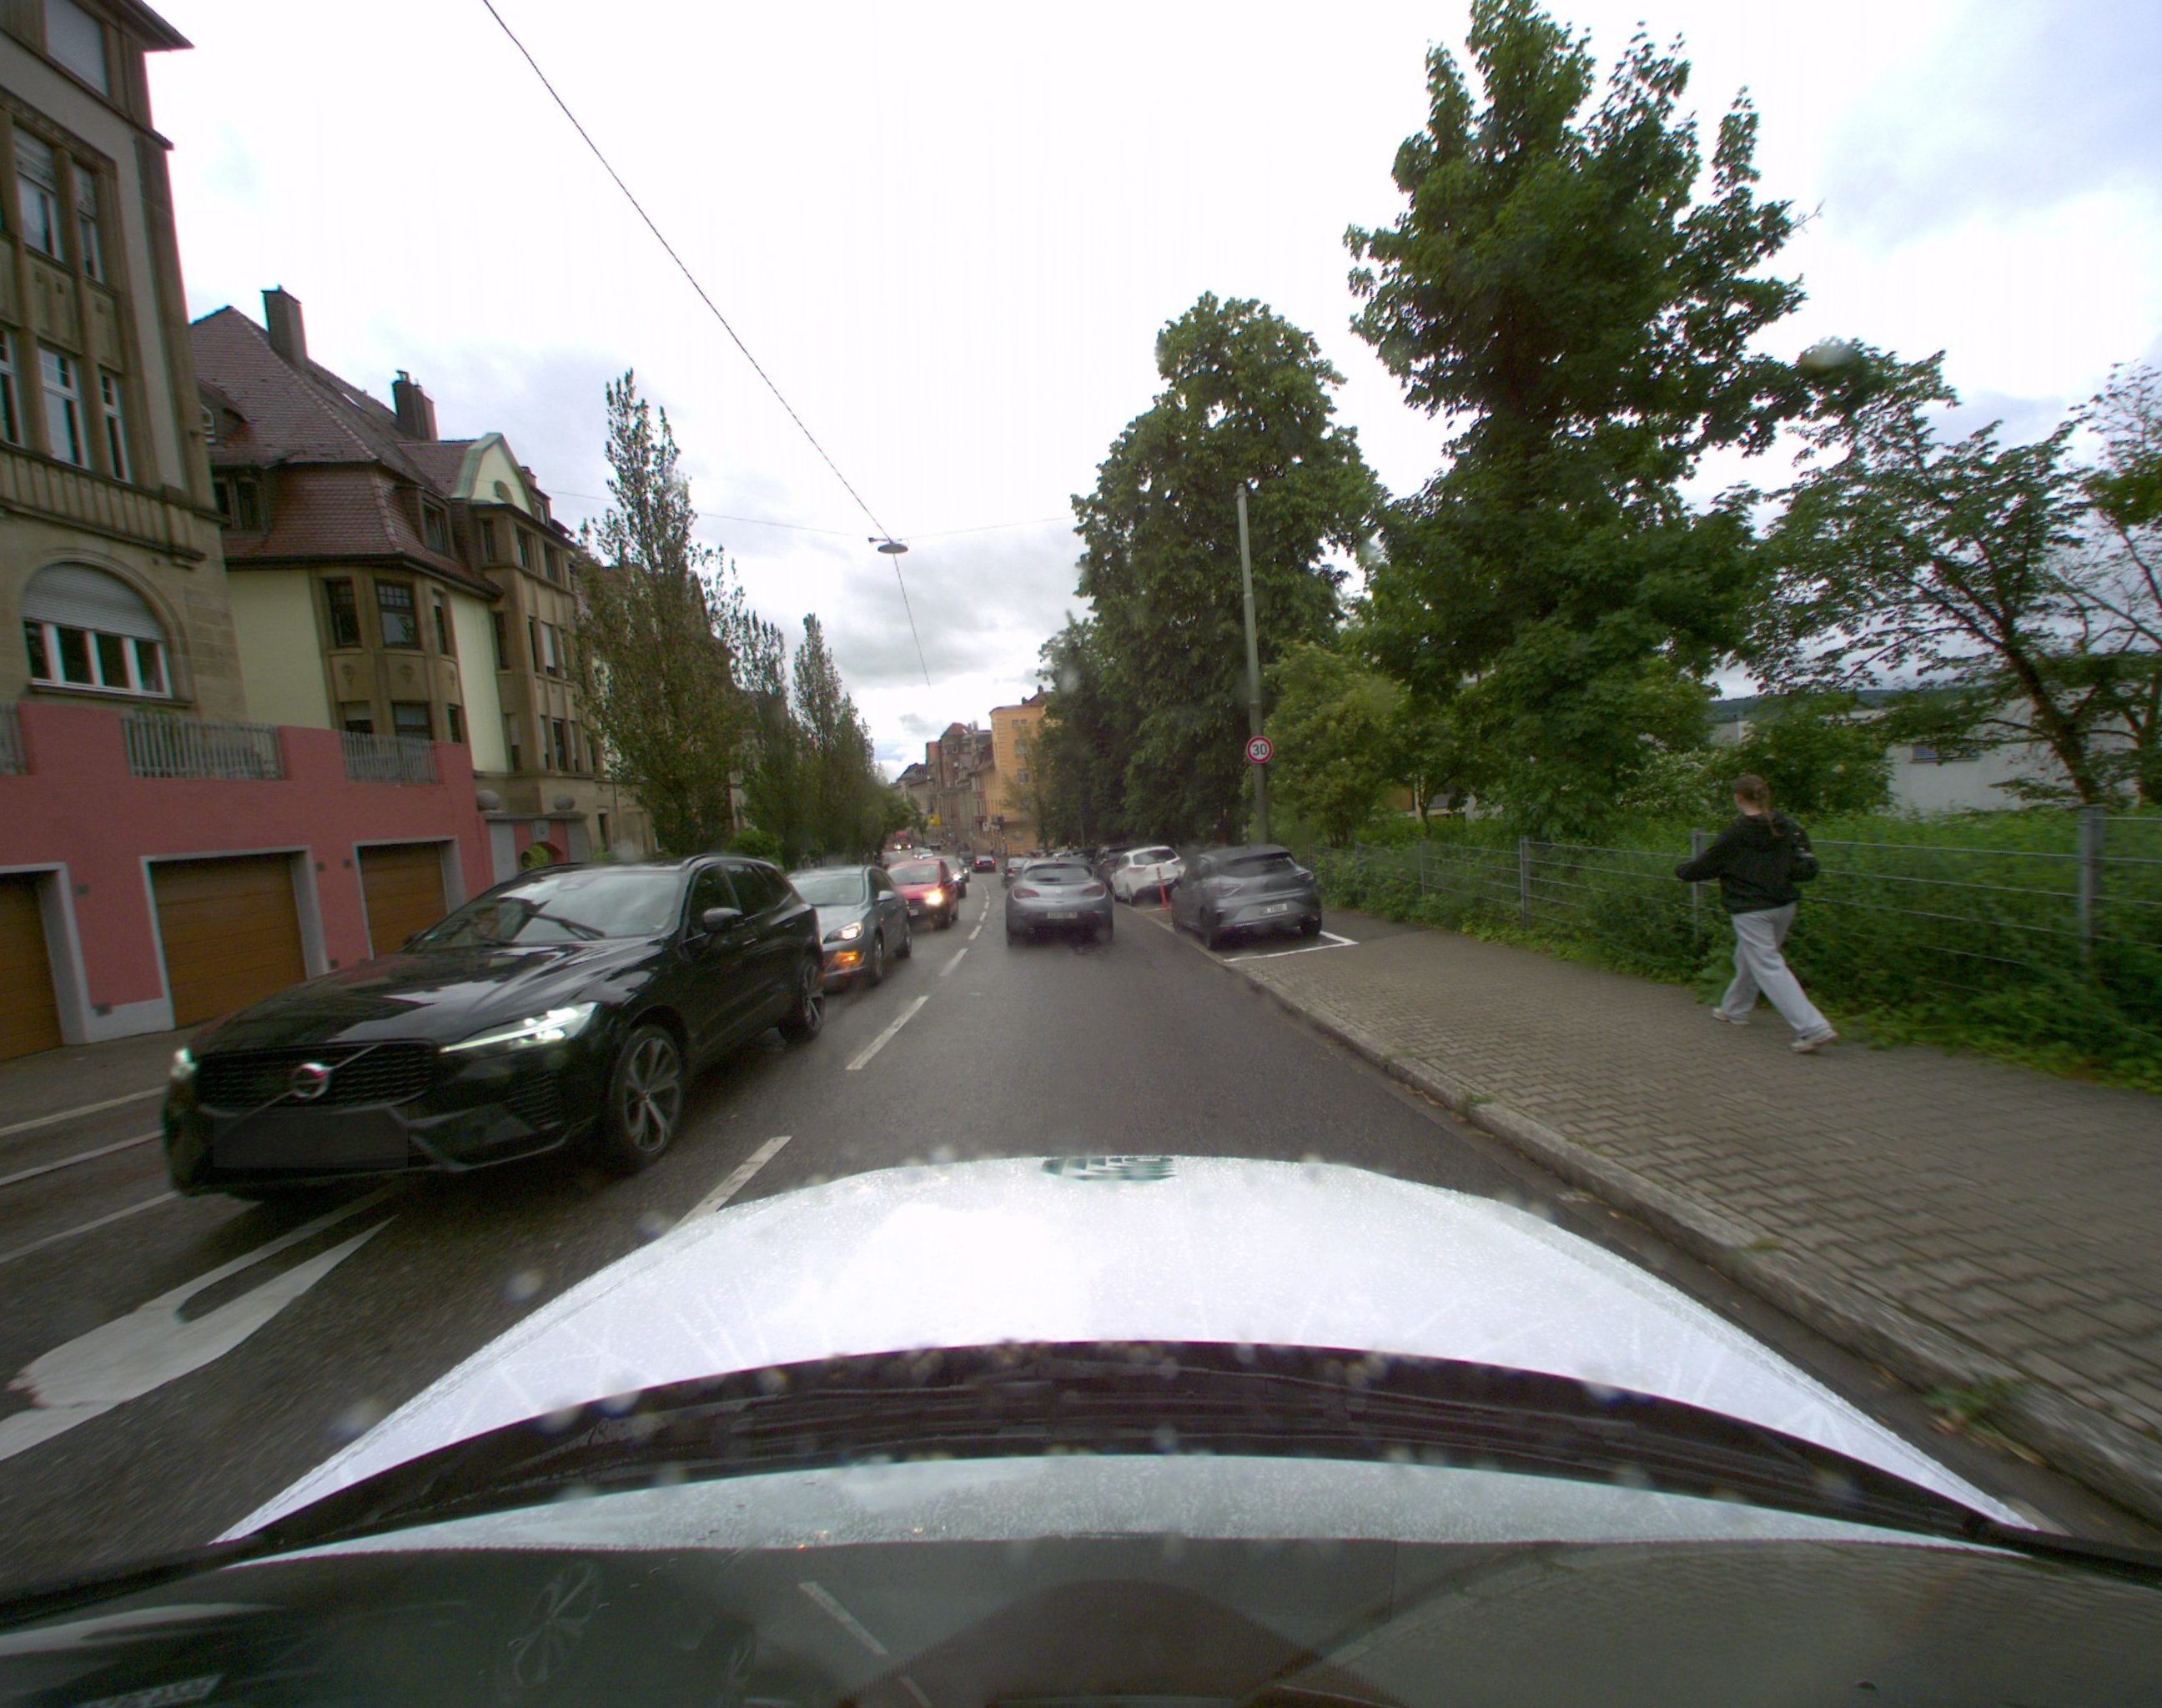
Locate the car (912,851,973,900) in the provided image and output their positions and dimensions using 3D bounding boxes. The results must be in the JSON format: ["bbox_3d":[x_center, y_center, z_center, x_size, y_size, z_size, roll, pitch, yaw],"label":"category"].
[{"bbox_3d":[-5.393,0.783,32.182,1.843,1.583,4.272,-6,1,-5],"label":"car"}]

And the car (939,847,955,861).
[{"bbox_3d":[-16.681,0.017,101.445,1.642,1.536,3.699,-4,1,-14],"label":"car"}]

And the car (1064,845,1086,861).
[{"bbox_3d":[-0.568,-0.146,83.654,1.766,1.429,3.794,-2,3,7],"label":"car"}]

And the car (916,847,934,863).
[{"bbox_3d":[-18.113,0.119,94.642,1.823,1.650,3.987,-5,1,-10],"label":"car"}]

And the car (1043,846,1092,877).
[{"bbox_3d":[-0.806,0.438,45.220,1.976,1.452,4.100,-6,0,-10],"label":"car"}]

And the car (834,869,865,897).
[{"bbox_3d":[-16.807,2.083,59.258,1.791,1.651,4.176,-8,1,-14],"label":"car"}]

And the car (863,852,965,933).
[{"bbox_3d":[-3.751,0.789,18.926,1.651,1.568,3.996,-3,0,-3],"label":"car"}]

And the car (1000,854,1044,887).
[{"bbox_3d":[-2.834,0.746,38.447,1.775,1.430,3.774,-2,0,-9],"label":"car"}]

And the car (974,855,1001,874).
[{"bbox_3d":[-7.636,0.826,66.444,1.769,1.415,3.700,-2,1,-13],"label":"car"}]

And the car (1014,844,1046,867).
[{"bbox_3d":[-4.030,0.150,63.971,1.816,1.467,3.985,-8,1,-11],"label":"car"}]

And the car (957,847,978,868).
[{"bbox_3d":[-11.376,0.331,81.321,1.642,1.688,3.701,-4,5,-13],"label":"car"}]

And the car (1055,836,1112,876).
[{"bbox_3d":[0.066,0.110,39.313,1.975,1.609,4.472,-6,0,-8],"label":"car"}]

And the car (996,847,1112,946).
[{"bbox_3d":[-0.565,0.677,15.219,1.811,1.429,3.995,-3,2,-4],"label":"car"}]

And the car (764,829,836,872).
[{"bbox_3d":[-11.511,-0.130,33.624,1.812,1.612,3.993,-2,0,-5],"label":"car"}]

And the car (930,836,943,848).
[{"bbox_3d":[-24.061,-2.005,135.600,1.783,1.855,3.983,-3,0,-12],"label":"car"}]

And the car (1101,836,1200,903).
[{"bbox_3d":[1.885,0.437,23.416,1.814,1.494,3.989,-9,0,-8],"label":"car"}]

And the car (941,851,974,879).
[{"bbox_3d":[-7.577,0.641,50.181,1.736,1.473,4.272,-5,0,-6],"label":"car"}]

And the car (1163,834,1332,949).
[{"bbox_3d":[2.536,0.523,13.346,1.646,1.404,3.808,-7,0,-3],"label":"car"}]

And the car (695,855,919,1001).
[{"bbox_3d":[-3.469,0.821,11.203,1.770,1.497,4.257,-4,0,-3],"label":"car"}]

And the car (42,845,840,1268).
[{"bbox_3d":[-3.237,0.790,5.578,1.870,1.574,4.582,-3,0,-2],"label":"car"}]

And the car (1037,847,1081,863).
[{"bbox_3d":[-2.022,0.106,74.291,3.778,1.430,1.773,0,-1,-14],"label":"car"}]

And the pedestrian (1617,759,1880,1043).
[{"bbox_3d":[4.264,0.270,5.292,0.764,1.605,0.965,-6,0,-2],"label":"pedestrian"}]

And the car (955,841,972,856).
[{"bbox_3d":[-16.431,-0.744,113.729,1.996,1.688,3.983,-9,1,-12],"label":"car"}]

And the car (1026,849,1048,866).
[{"bbox_3d":[-4.354,0.326,81.177,1.768,1.429,3.790,-2,2,3],"label":"car"}]

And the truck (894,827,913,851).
[{"bbox_3d":[-34.296,-2.965,156.964,2.794,4.131,10.798,-4,3,-15],"label":"truck"}]

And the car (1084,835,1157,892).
[{"bbox_3d":[1.317,0.306,29.257,1.819,1.682,4.794,-6,1,-5],"label":"car"}]

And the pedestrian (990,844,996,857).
[{"bbox_3d":[-10.501,-0.439,97.570,0.613,1.496,0.551,-4,3,-10],"label":"pedestrian"}]
